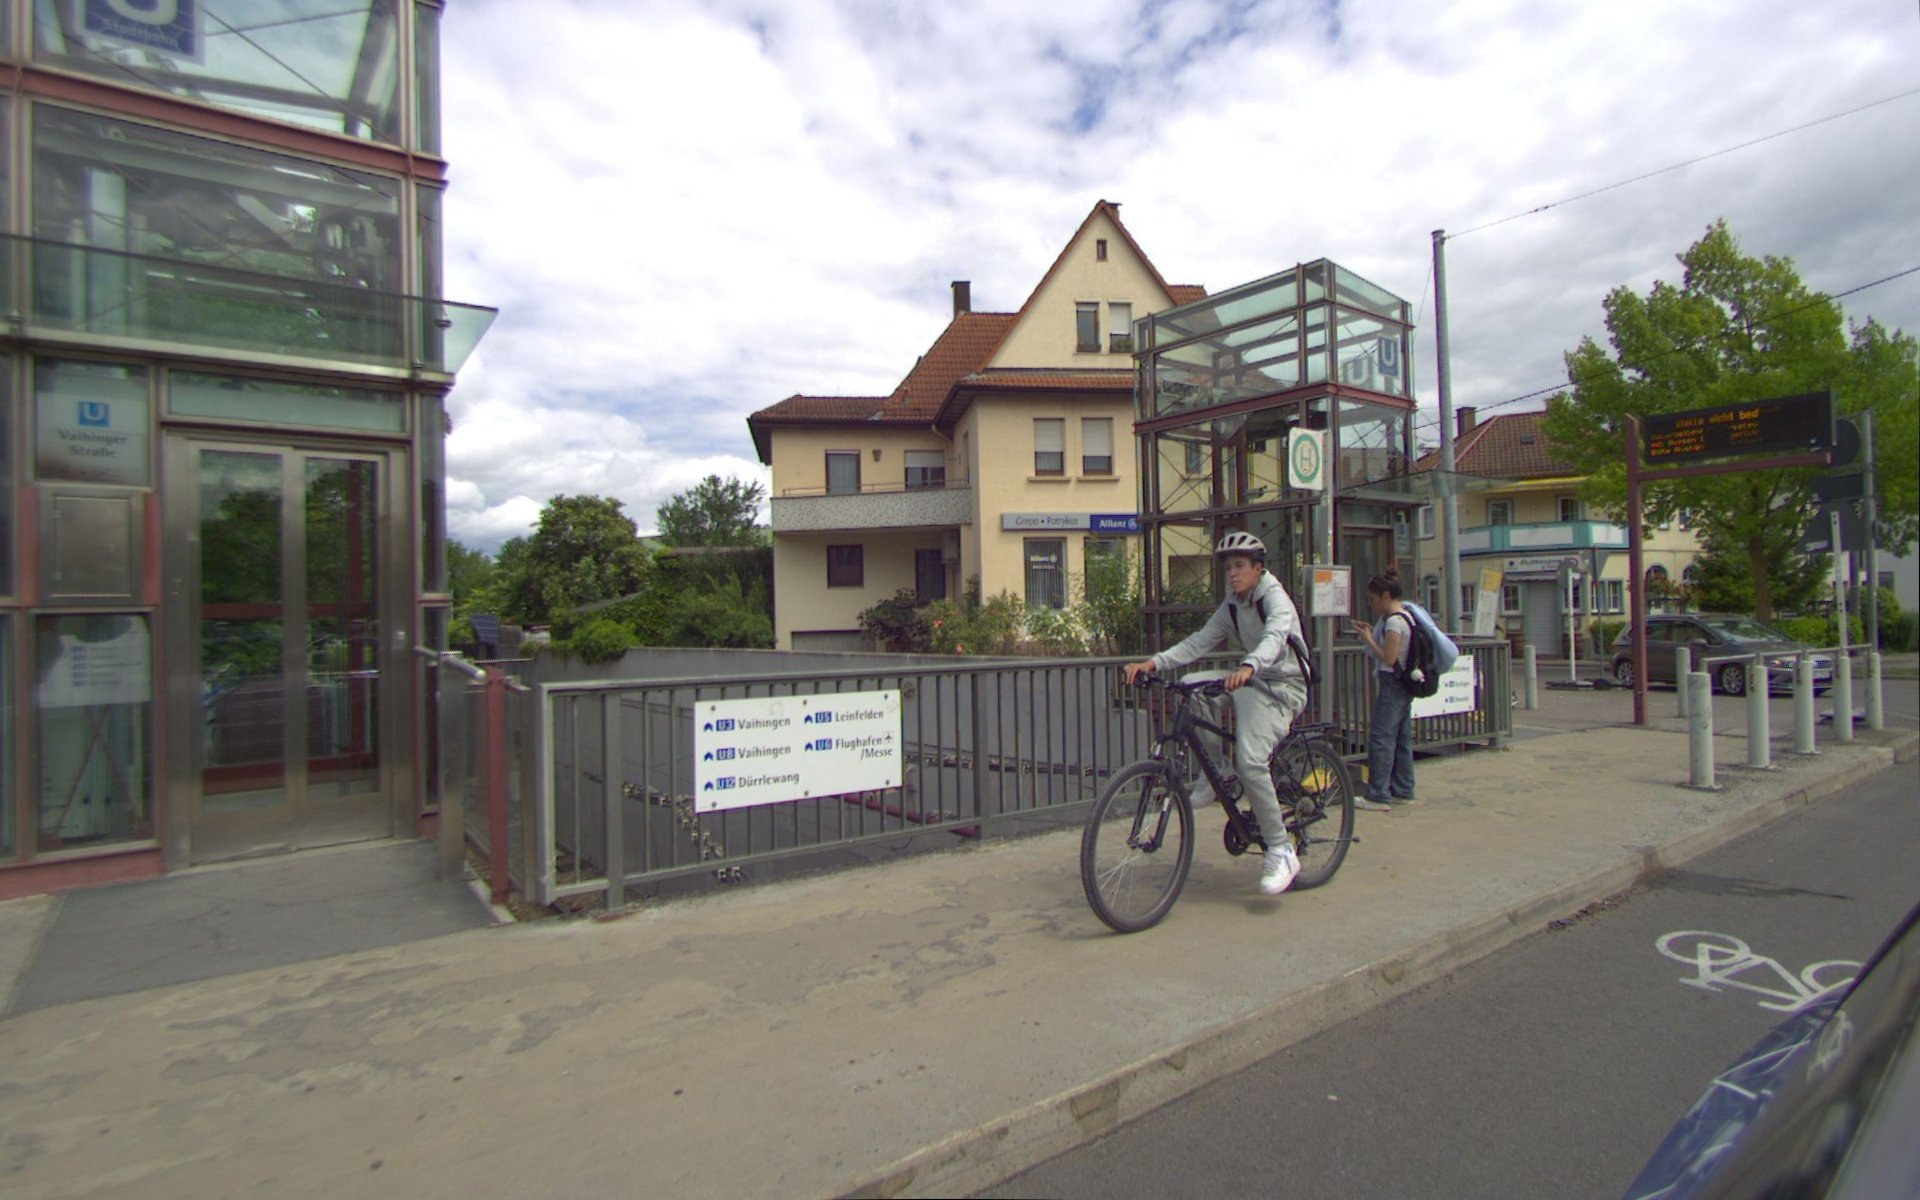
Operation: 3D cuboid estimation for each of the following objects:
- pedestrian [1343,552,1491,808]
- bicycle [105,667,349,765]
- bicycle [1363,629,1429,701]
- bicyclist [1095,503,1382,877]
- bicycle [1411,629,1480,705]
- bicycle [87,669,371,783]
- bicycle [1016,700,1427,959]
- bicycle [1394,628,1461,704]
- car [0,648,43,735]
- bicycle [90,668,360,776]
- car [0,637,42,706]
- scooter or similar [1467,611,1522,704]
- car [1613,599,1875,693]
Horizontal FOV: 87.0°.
[{"bbox_3d":[3.004,0.521,6.685,0.394,1.603,0.599,-2,-6,-37],"label":"pedestrian"},{"bbox_3d":[-9.073,1.403,12.643,2.424,0.993,0.568,0,-2,-37],"label":"bicycle"},{"bbox_3d":[6.488,0.954,15.055,1.165,1.021,0.216,0,-1,-28],"label":"bicycle"},{"bbox_3d":[1.250,0.351,4.507,1.157,1.434,0.657,1,-2,-38],"label":"bicyclist"},{"bbox_3d":[6.873,0.937,14.317,1.182,1.014,0.216,0,-1,-28],"label":"bicycle"},{"bbox_3d":[-7.778,1.305,10.911,2.424,0.993,0.568,0,-2,-37],"label":"bicycle"},{"bbox_3d":[1.222,0.895,4.452,2.024,0.763,0.637,0,-2,-38],"label":"bicycle"},{"bbox_3d":[6.729,0.935,14.542,1.145,1.026,0.216,0,-1,-28],"label":"bicycle"},{"bbox_3d":[-17.818,1.616,18.074,1.965,1.394,3.993,0,-2,-40],"label":"car"},{"bbox_3d":[-8.216,1.329,11.445,2.424,0.993,0.568,0,-2,-37],"label":"bicycle"},{"bbox_3d":[-21.374,1.537,21.984,1.965,1.394,3.993,0,-2,-40],"label":"car"},{"bbox_3d":[6.675,0.725,12.619,0.928,1.126,0.216,4,-3,-37],"label":"scooter or similar"},{"bbox_3d":[15.337,0.889,20.121,1.832,1.646,4.002,-1,-2,-4],"label":"car"}]
